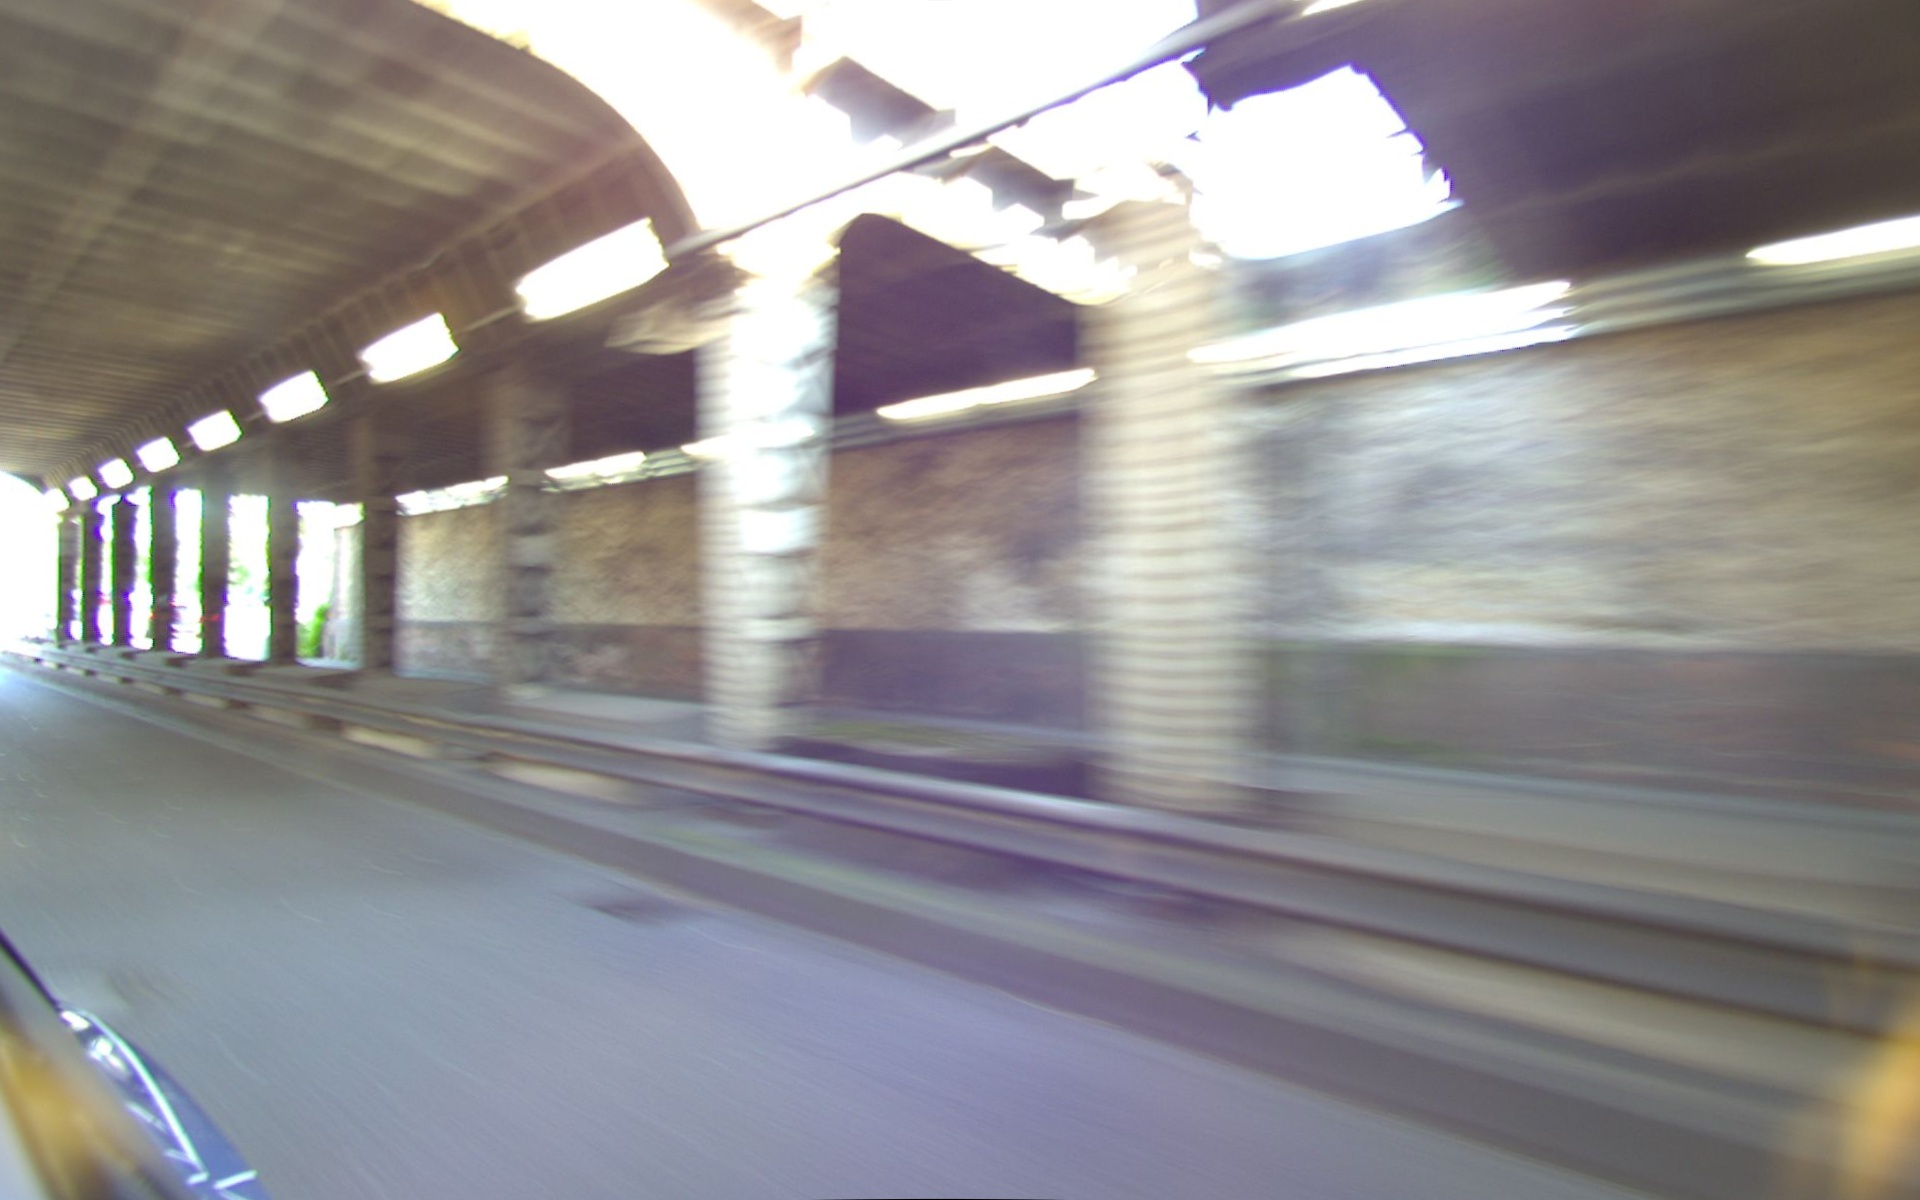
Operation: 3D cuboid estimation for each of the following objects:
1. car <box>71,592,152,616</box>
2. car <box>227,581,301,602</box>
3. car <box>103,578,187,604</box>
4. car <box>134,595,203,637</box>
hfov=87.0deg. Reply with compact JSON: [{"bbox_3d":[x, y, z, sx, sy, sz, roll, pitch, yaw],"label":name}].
[{"bbox_3d":[-59.753,0.250,71.311,4.260,1.611,1.861,-1,2,-44],"label":"car"},{"bbox_3d":[-48.340,-0.613,70.377,1.896,1.438,3.908,1,1,22],"label":"car"},{"bbox_3d":[-53.471,-0.631,66.498,1.900,1.648,4.108,0,1,10],"label":"car"},{"bbox_3d":[-31.253,0.596,40.073,1.924,1.529,4.398,0,1,-35],"label":"car"}]
